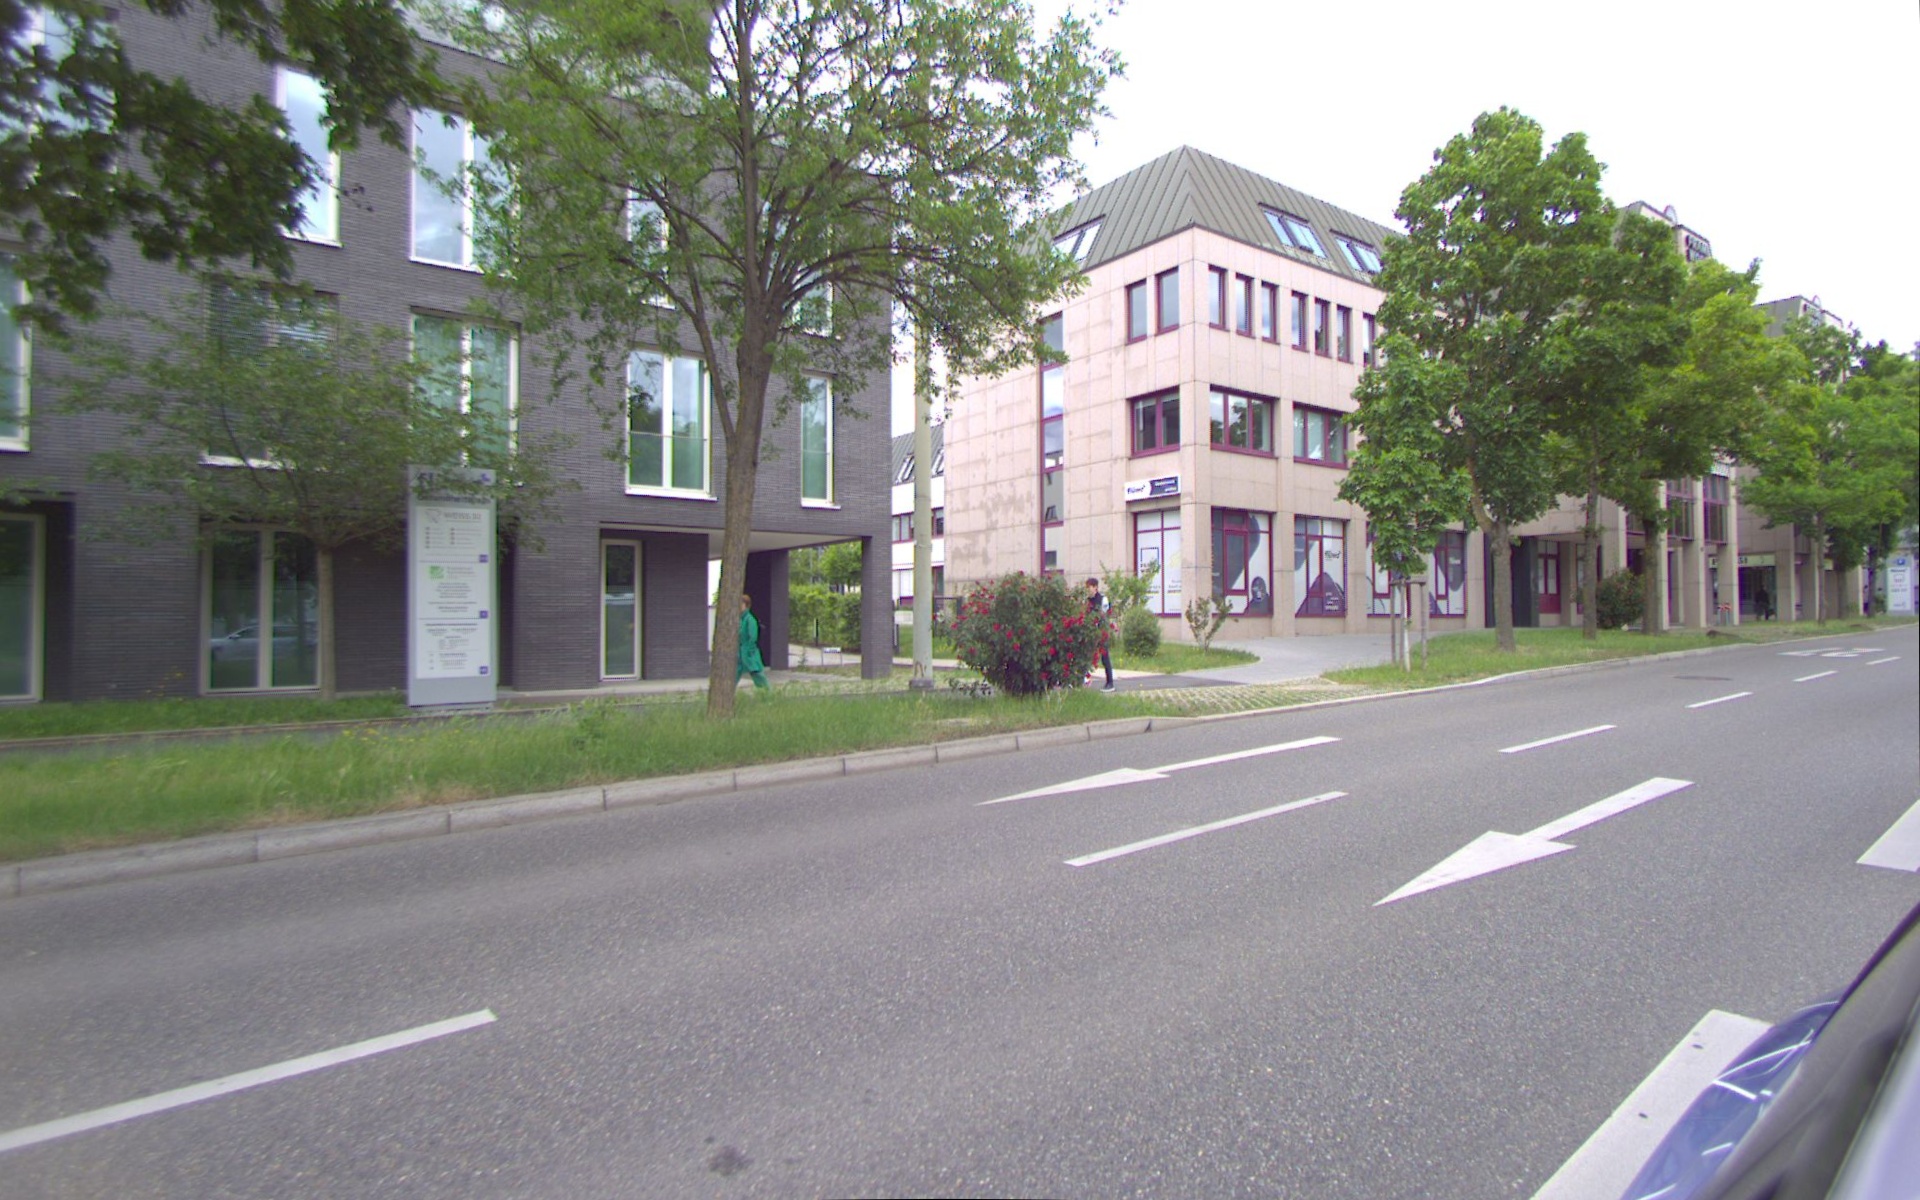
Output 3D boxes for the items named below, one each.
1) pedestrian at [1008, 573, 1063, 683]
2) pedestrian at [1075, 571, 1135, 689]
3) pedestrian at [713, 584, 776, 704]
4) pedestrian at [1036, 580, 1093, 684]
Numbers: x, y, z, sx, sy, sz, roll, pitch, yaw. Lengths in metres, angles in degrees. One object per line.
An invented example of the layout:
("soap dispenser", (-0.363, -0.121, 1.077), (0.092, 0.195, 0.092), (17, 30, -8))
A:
("pedestrian", (1.283, 0.456, 17.262), (0.665, 1.828, 0.642), (-1, 0, -40))
("pedestrian", (2.316, 0.456, 16.157), (0.665, 1.828, 0.642), (-1, 0, -40))
("pedestrian", (-2.893, 0.569, 13.604), (0.665, 1.537, 0.496), (-1, 2, -40))
("pedestrian", (1.719, 0.511, 16.697), (0.665, 1.668, 0.642), (-1, 0, -40))
